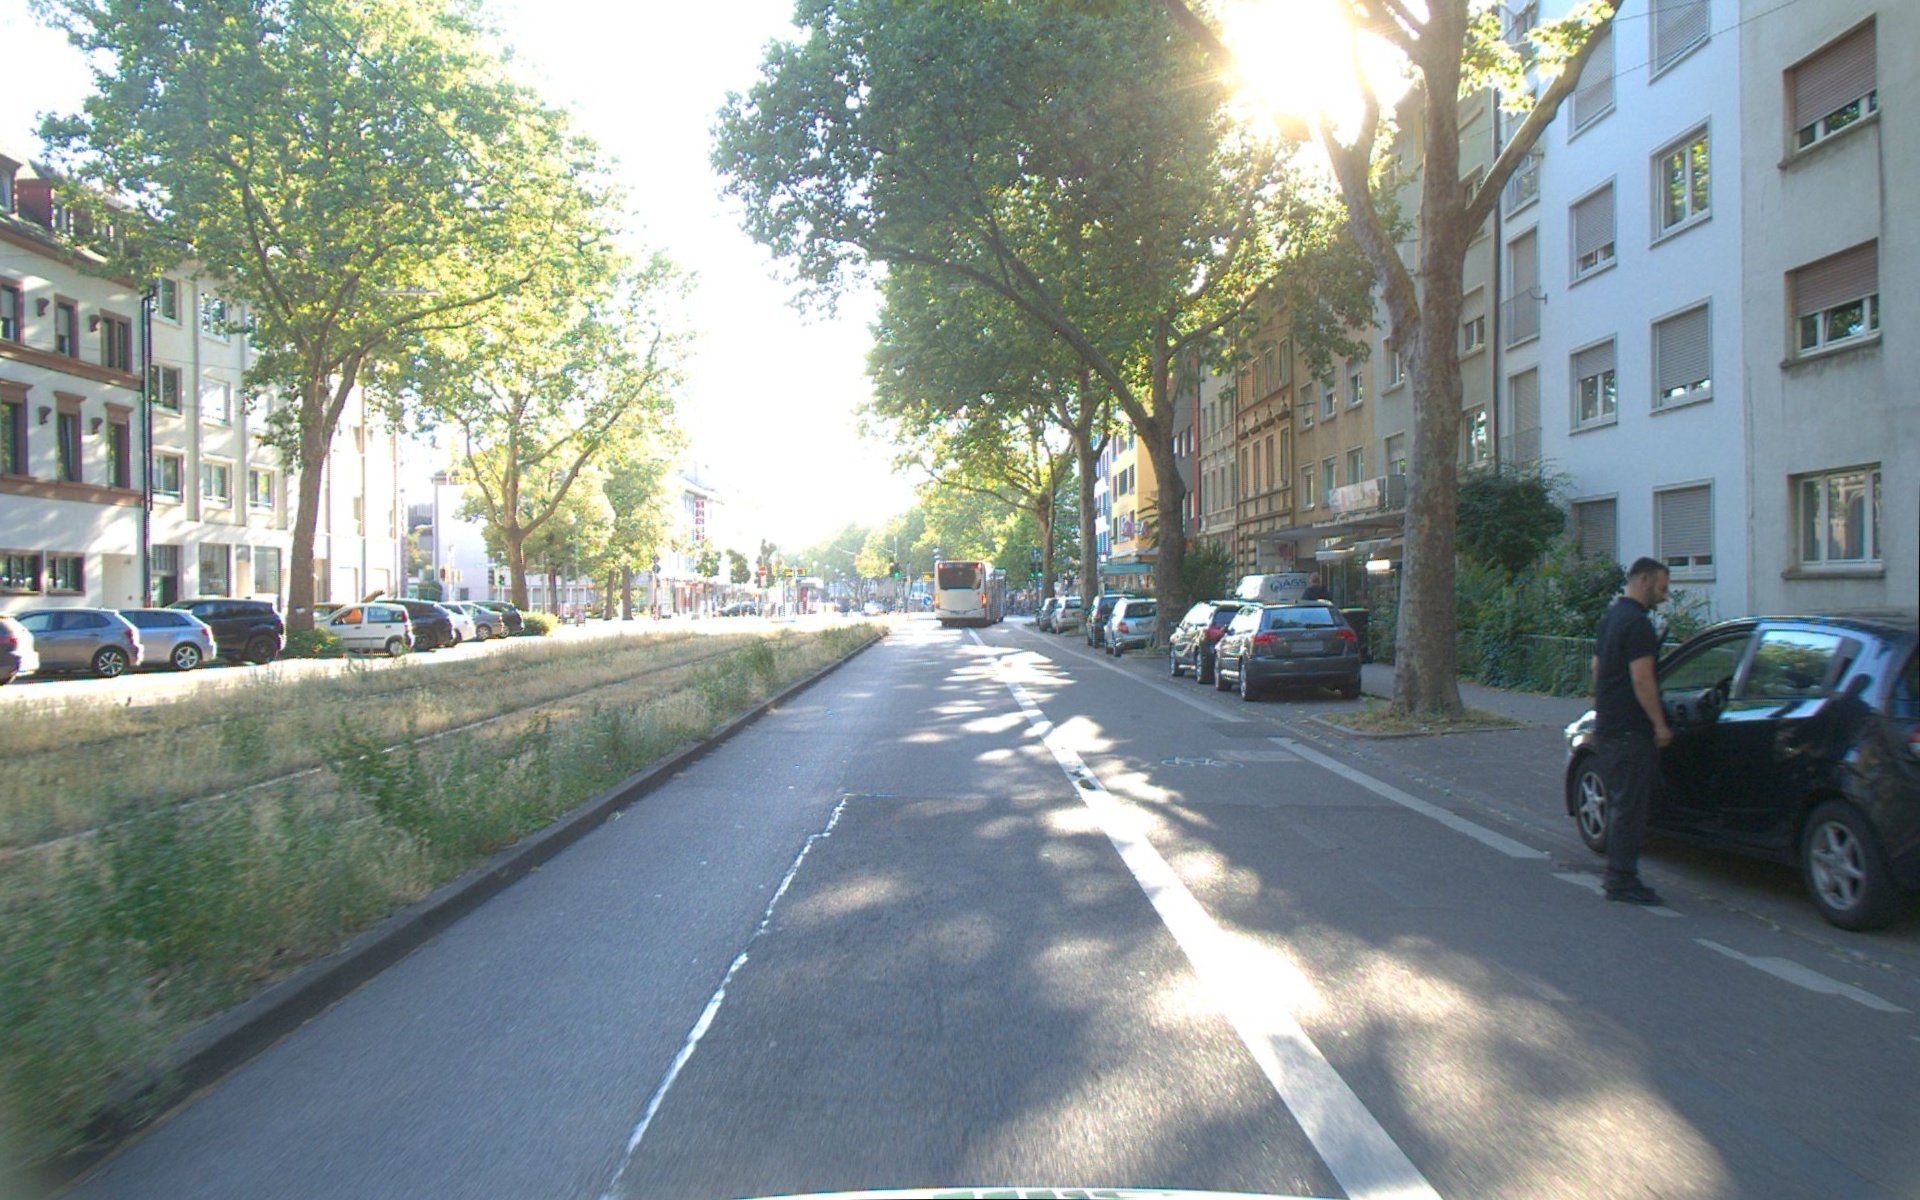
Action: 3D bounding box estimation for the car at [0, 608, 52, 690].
[{"bbox_3d":[-19.178,0.916,30.320,4.241,1.483,1.845,0,-1,-24],"label":"car"}]

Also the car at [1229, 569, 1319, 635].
[{"bbox_3d":[9.521,0.084,50.480,1.845,1.892,4.324,-1,-1,-1],"label":"car"}]

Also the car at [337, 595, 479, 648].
[{"bbox_3d":[-18.957,0.726,56.871,4.275,1.768,1.830,0,-1,-42],"label":"car"}]

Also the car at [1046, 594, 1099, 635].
[{"bbox_3d":[4.439,0.541,65.663,1.744,1.542,3.999,-1,0,-1],"label":"car"}]

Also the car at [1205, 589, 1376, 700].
[{"bbox_3d":[4.962,0.620,25.322,1.744,1.542,3.999,-1,0,-1],"label":"car"}]

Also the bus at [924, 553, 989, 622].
[{"bbox_3d":[-0.257,-0.569,82.991,2.777,3.292,8.176,0,-1,-3],"label":"bus"}]

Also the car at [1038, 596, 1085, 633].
[{"bbox_3d":[4.397,0.594,72.012,1.744,1.542,3.999,-1,0,-1],"label":"car"}]

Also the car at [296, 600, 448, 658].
[{"bbox_3d":[-18.845,0.907,53.081,4.275,1.768,1.830,0,-1,-42],"label":"car"}]

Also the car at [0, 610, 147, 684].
[{"bbox_3d":[-19.458,0.959,34.424,4.275,1.483,1.830,0,-1,-42],"label":"car"}]

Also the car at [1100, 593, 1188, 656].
[{"bbox_3d":[4.727,0.598,42.969,1.744,1.542,3.999,-1,0,-1],"label":"car"}]

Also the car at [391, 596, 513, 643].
[{"bbox_3d":[-20.088,0.756,65.515,4.275,1.768,1.830,0,-1,-42],"label":"car"}]

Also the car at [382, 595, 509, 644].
[{"bbox_3d":[-19.508,0.724,62.851,4.275,1.768,1.830,0,-1,-42],"label":"car"}]

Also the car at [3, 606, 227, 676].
[{"bbox_3d":[-19.189,0.901,37.655,4.275,1.483,1.830,0,-1,-42],"label":"car"}]

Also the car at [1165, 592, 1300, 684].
[{"bbox_3d":[4.897,0.634,30.205,1.744,1.542,3.999,-1,0,-1],"label":"car"}]

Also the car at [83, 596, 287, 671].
[{"bbox_3d":[-19.204,0.792,41.085,4.275,1.768,1.830,0,-1,-42],"label":"car"}]

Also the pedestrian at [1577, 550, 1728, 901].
[{"bbox_3d":[3.686,0.648,8.829,0.565,1.811,0.514,-1,0,-1],"label":"pedestrian"}]

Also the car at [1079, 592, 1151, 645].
[{"bbox_3d":[4.747,0.542,51.096,1.744,1.542,3.999,-1,0,-1],"label":"car"}]

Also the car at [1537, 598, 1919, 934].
[{"bbox_3d":[4.974,0.761,9.467,1.653,1.512,3.995,0,-1,-5],"label":"car"}]
